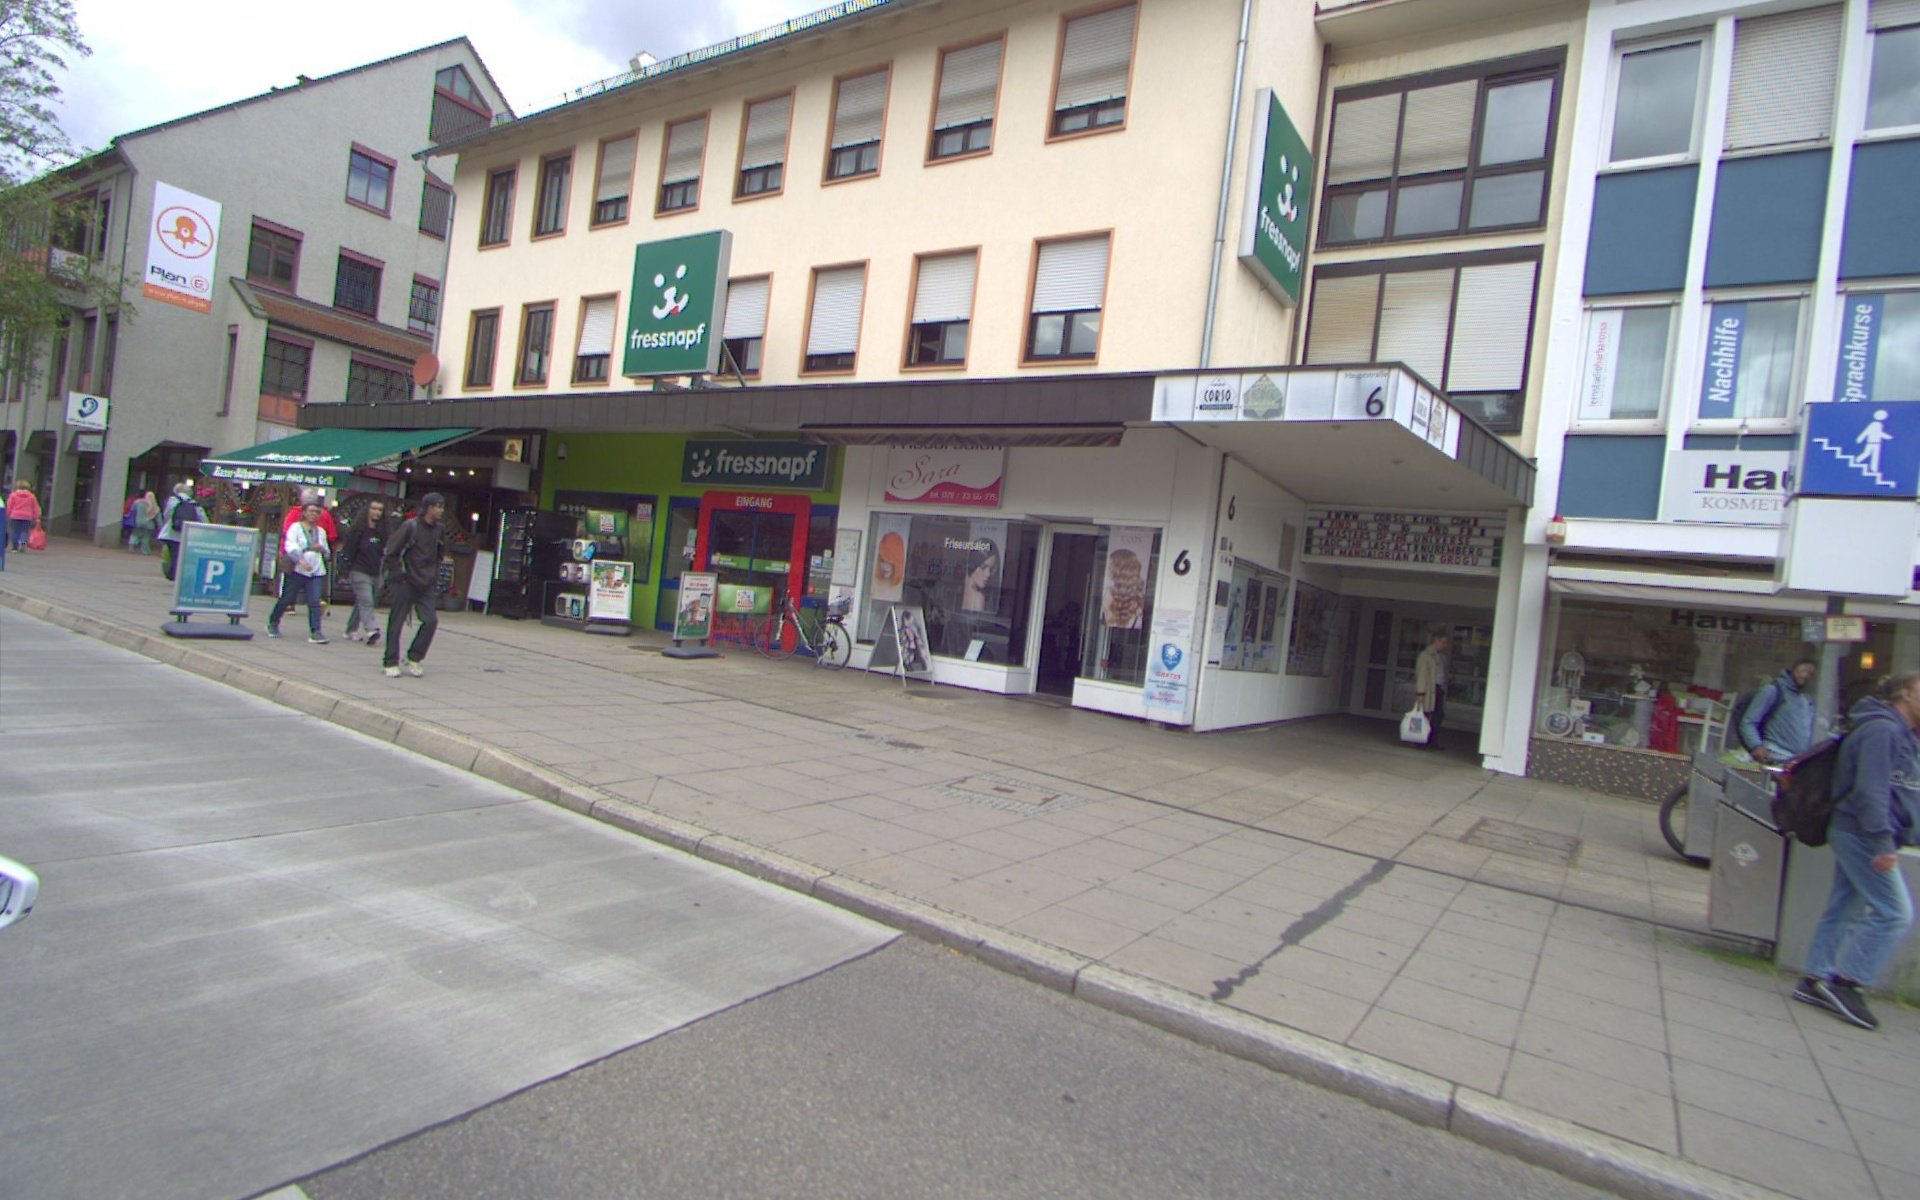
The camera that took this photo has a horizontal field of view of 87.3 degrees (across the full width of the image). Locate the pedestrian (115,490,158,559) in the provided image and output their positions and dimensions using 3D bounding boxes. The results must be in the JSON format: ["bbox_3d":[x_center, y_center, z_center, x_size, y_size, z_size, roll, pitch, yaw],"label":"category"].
[{"bbox_3d":[-21.235,-1.942,25.939,0.605,1.654,0.586,8,1,35],"label":"pedestrian"}]

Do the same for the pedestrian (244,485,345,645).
[{"bbox_3d":[-7.294,-0.375,11.032,0.605,1.655,0.613,7,1,31],"label":"pedestrian"}]

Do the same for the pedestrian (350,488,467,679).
[{"bbox_3d":[-5.179,-0.147,9.450,0.605,1.699,0.612,8,1,36],"label":"pedestrian"}]

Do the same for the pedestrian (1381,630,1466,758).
[{"bbox_3d":[6.564,1.314,14.256,0.839,1.655,0.688,8,1,31],"label":"pedestrian"}]

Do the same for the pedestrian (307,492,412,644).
[{"bbox_3d":[-6.932,-0.357,11.627,0.605,1.655,0.719,7,1,31],"label":"pedestrian"}]

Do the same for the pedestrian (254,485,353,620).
[{"bbox_3d":[-9.066,-0.648,13.904,0.768,1.764,0.796,6,1,28],"label":"pedestrian"}]

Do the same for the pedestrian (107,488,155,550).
[{"bbox_3d":[-23.878,-2.319,28.977,0.604,1.654,0.727,8,0,25],"label":"pedestrian"}]

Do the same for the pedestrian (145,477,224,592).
[{"bbox_3d":[-12.600,-1.053,16.343,0.768,1.764,0.683,6,2,29],"label":"pedestrian"}]

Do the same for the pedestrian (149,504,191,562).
[{"bbox_3d":[-20.547,-1.730,26.152,0.605,1.392,0.586,8,0,36],"label":"pedestrian"}]

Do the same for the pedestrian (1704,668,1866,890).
[{"bbox_3d":[6.884,1.457,8.441,0.787,1.654,0.667,8,1,31],"label":"pedestrian"}]

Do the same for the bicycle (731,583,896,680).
[{"bbox_3d":[-2.105,0.431,14.290,2.312,1.076,0.741,7,1,32],"label":"bicycle"}]

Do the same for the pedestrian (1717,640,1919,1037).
[{"bbox_3d":[4.260,1.077,4.752,0.839,1.655,0.688,8,1,31],"label":"pedestrian"}]

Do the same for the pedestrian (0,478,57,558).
[{"bbox_3d":[-19.954,-1.759,21.559,0.669,1.586,0.487,9,1,-36],"label":"pedestrian"}]

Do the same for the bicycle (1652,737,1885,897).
[{"bbox_3d":[6.570,1.740,8.243,1.364,0.986,0.273,8,1,33],"label":"bicycle"}]
